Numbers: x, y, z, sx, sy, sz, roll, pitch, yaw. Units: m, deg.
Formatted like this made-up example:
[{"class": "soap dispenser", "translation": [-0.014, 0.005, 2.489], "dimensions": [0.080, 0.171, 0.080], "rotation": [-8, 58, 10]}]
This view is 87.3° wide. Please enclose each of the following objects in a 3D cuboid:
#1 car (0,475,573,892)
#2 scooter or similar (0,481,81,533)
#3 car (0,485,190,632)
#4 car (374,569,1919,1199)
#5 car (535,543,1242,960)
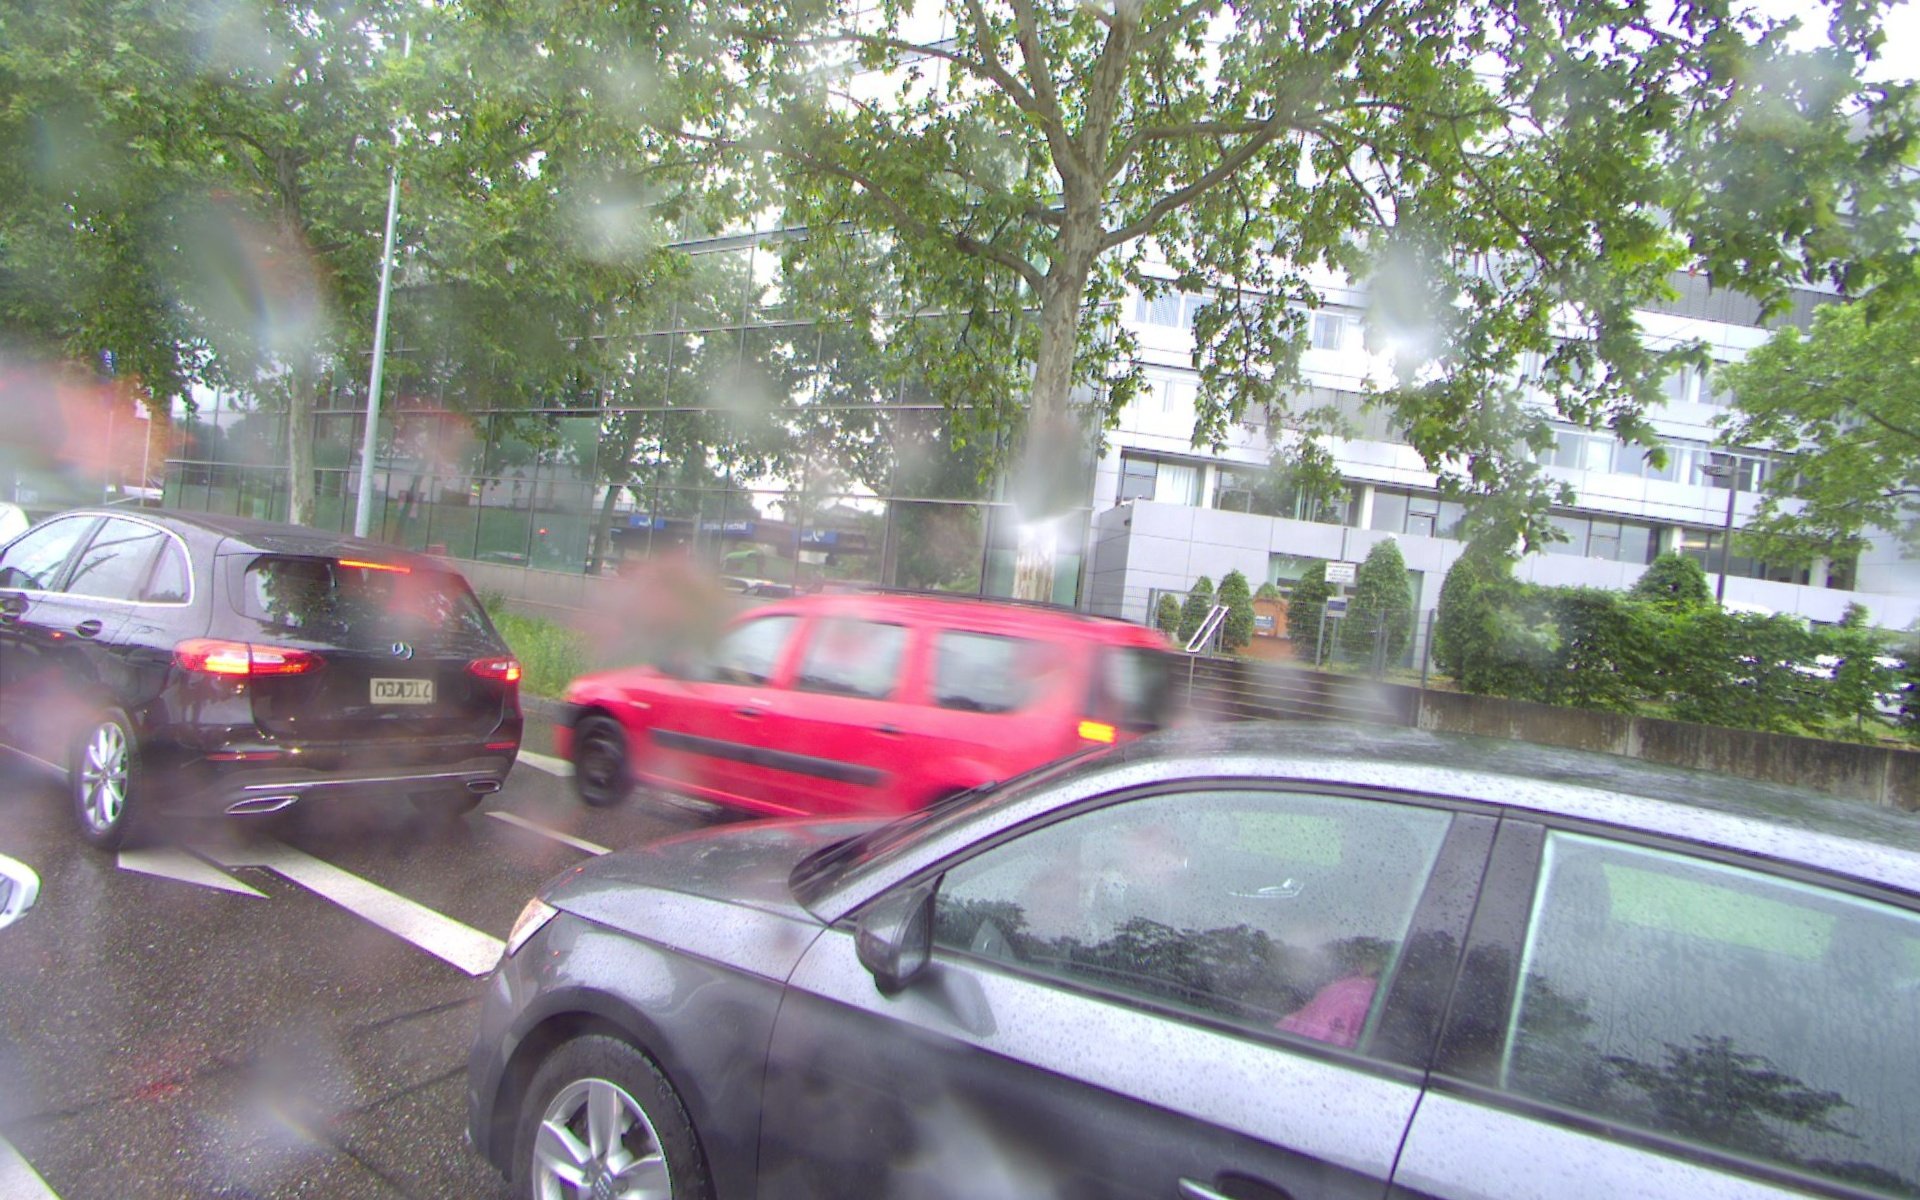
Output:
[{"class": "car", "translation": [-4.347, 0.245, 5.753], "dimensions": [4.022, 1.573, 1.751], "rotation": [7, -1, 31]}, {"class": "scooter or similar", "translation": [-54.524, -5.512, 58.149], "dimensions": [5.228, 2.476, 1.893], "rotation": [7, 0, -9]}, {"class": "car", "translation": [-12.903, -0.687, 14.149], "dimensions": [3.933, 1.631, 1.880], "rotation": [7, -2, 32]}, {"class": "car", "translation": [0.718, 0.905, 2.091], "dimensions": [3.718, 1.445, 1.679], "rotation": [7, -1, 31]}, {"class": "car", "translation": [-0.585, 0.725, 6.511], "dimensions": [4.201, 1.714, 1.714], "rotation": [6, -2, 31]}]
